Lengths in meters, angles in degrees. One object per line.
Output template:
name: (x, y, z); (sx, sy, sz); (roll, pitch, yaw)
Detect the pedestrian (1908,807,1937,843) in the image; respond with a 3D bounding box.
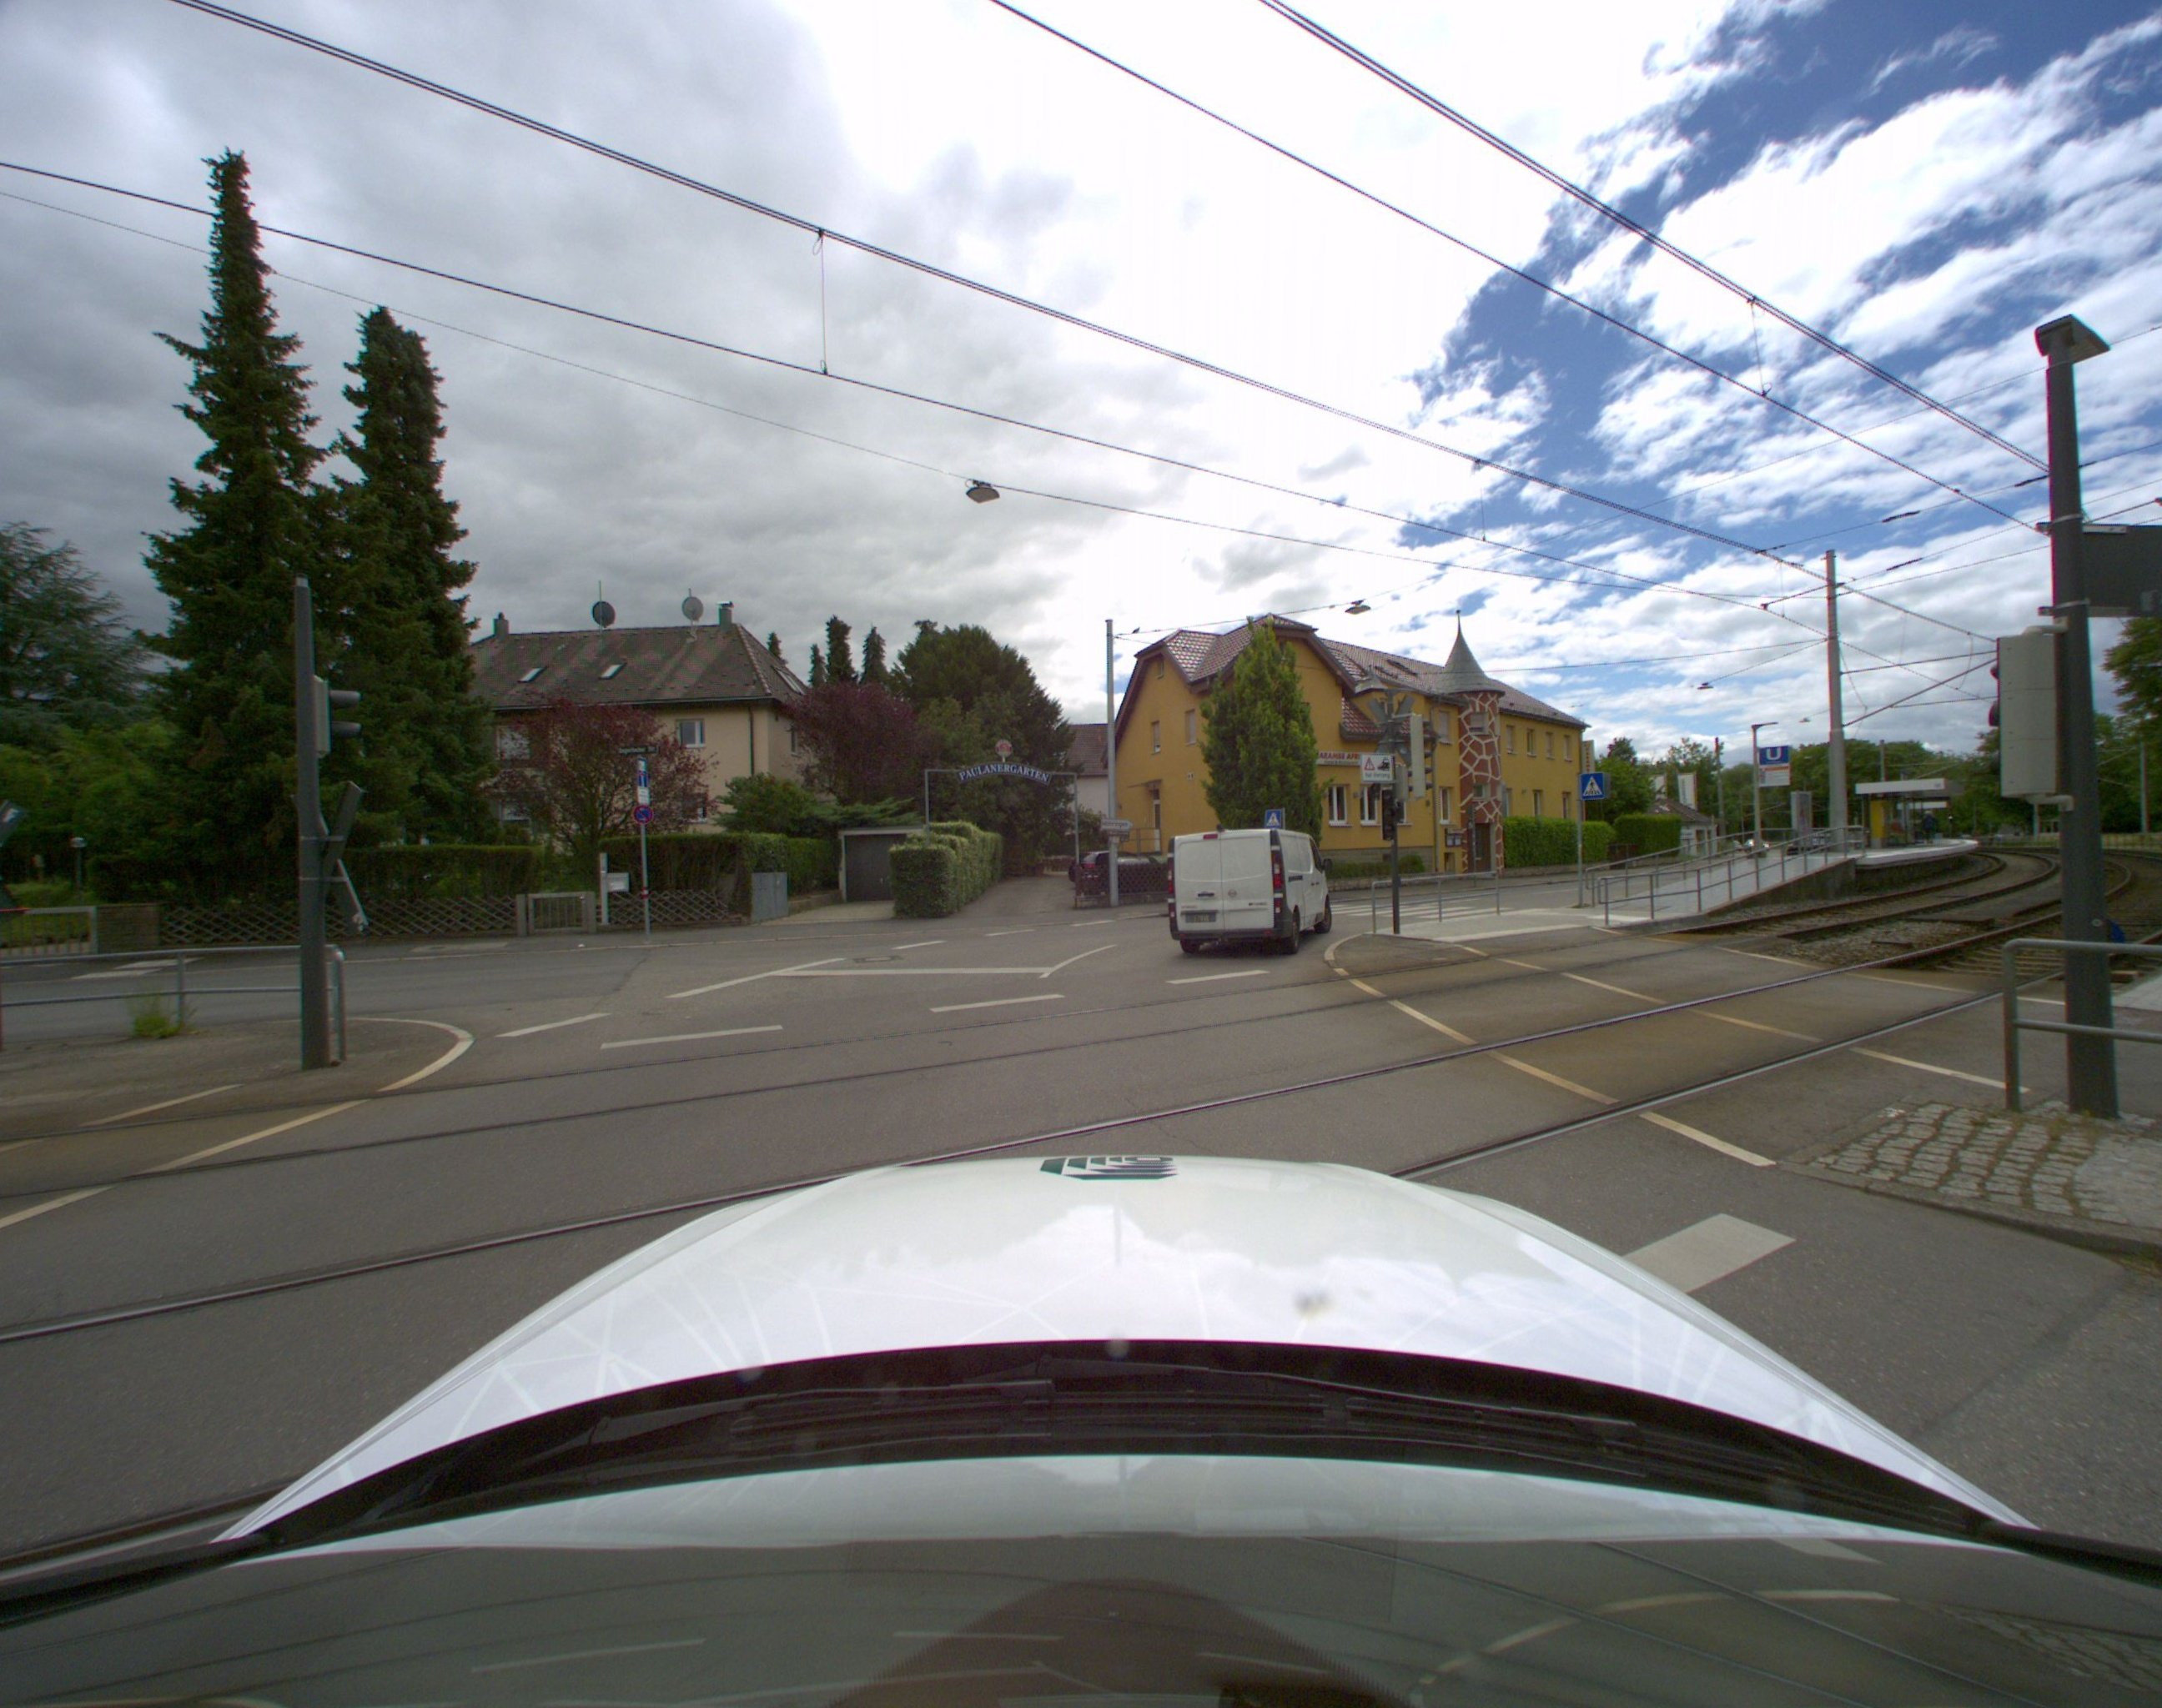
pedestrian: (40.665, -1.394, 39.369); (0.914, 1.671, 0.878); (-1, 0, -40)

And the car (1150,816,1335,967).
car: (3.095, 0.499, 14.395); (2.098, 2.134, 5.471); (-1, 1, 23)

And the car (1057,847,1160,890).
car: (1.080, 0.520, 31.871); (3.692, 1.427, 1.710); (-3, 3, -32)
